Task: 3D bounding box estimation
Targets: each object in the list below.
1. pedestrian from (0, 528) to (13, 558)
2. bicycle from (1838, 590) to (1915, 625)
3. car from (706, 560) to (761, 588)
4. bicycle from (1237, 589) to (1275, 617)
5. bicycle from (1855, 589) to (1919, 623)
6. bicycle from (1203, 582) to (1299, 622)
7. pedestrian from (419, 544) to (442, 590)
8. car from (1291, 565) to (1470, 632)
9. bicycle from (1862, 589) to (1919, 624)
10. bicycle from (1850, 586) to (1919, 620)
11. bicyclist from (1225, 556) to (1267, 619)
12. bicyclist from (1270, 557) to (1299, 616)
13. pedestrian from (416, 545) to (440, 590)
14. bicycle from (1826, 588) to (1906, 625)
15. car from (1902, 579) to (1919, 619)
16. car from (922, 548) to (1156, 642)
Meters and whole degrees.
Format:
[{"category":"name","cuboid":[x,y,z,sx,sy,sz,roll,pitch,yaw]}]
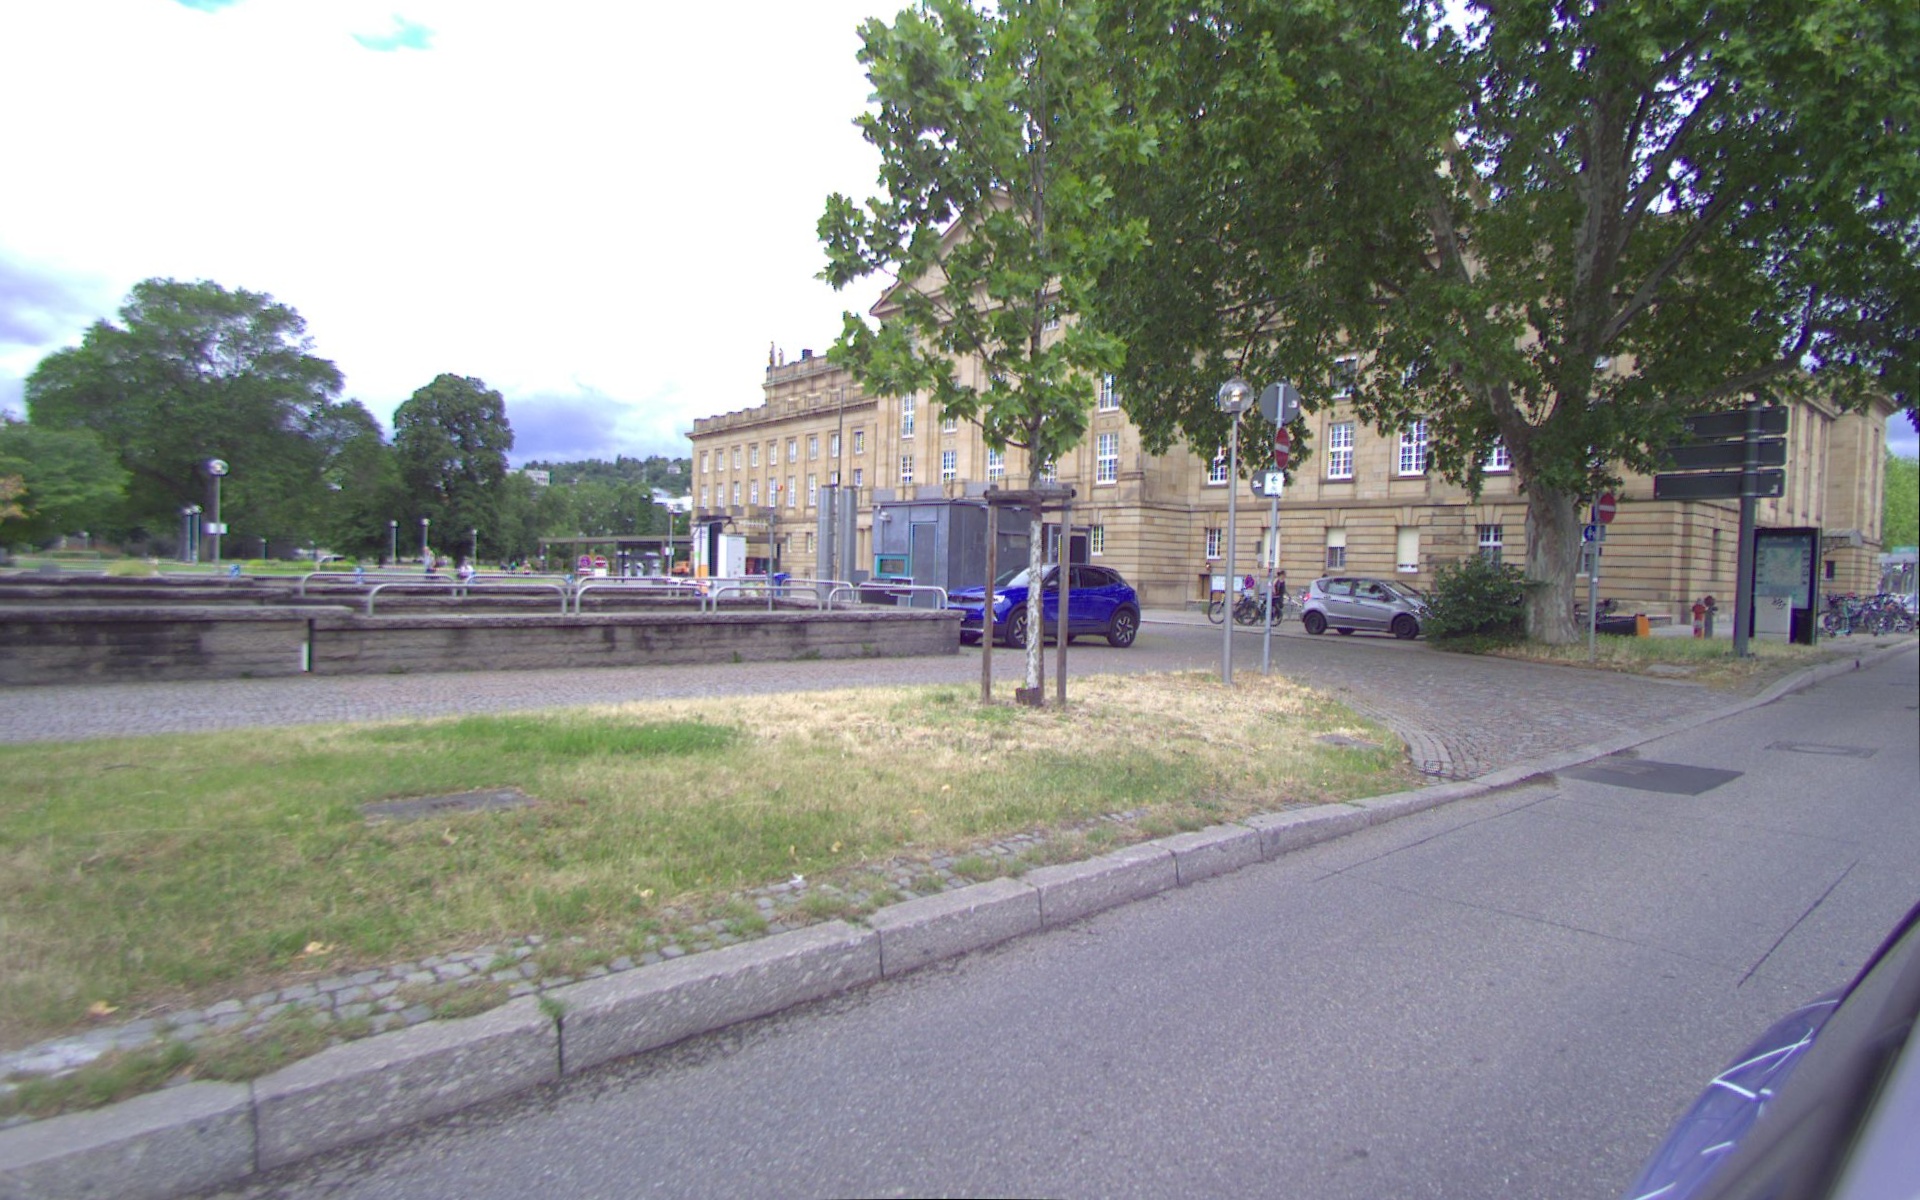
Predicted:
[{"category":"pedestrian","cuboid":[-57.712,-3.447,61.063,0.801,1.825,0.857,0,2,-41]},{"category":"bicycle","cuboid":[30.278,0.225,33.456,1.835,1.085,0.609,3,2,43]},{"category":"car","cuboid":[-15.100,-1.710,67.432,1.964,1.738,3.995,-1,1,-39]},{"category":"bicycle","cuboid":[10.513,0.084,35.850,0.907,0.942,2.658,-1,1,24]},{"category":"bicycle","cuboid":[31.786,0.189,34.490,1.826,1.085,0.526,2,2,31]},{"category":"bicycle","cuboid":[9.532,0.051,33.226,2.825,1.199,1.084,2,2,34]},{"category":"pedestrian","cuboid":[-24.020,-1.509,45.924,0.800,2.039,0.767,-2,1,-36]},{"category":"car","cuboid":[10.940,-0.043,26.514,1.704,1.616,3.994,-1,1,-40]},{"category":"bicycle","cuboid":[31.290,0.217,33.692,1.834,1.085,0.524,3,2,42]},{"category":"bicycle","cuboid":[32.741,0.091,35.701,1.921,1.146,0.535,2,2,31]},{"category":"bicyclist","cuboid":[9.366,-0.413,33.148,1.005,2.039,1.091,1,1,33]},{"category":"bicyclist","cuboid":[11.331,-0.463,35.337,0.869,2.039,0.837,-1,0,24]},{"category":"pedestrian","cuboid":[-24.578,-1.512,46.734,0.801,2.039,0.858,-2,1,-39]},{"category":"bicycle","cuboid":[29.645,0.199,33.149,1.912,1.112,0.533,3,2,43]},{"category":"car","cuboid":[40.224,-0.038,41.408,3.927,1.549,1.844,-1,3,-38]},{"category":"car","cuboid":[1.513,-0.073,18.572,4.140,1.537,1.769,1,1,-38]}]
